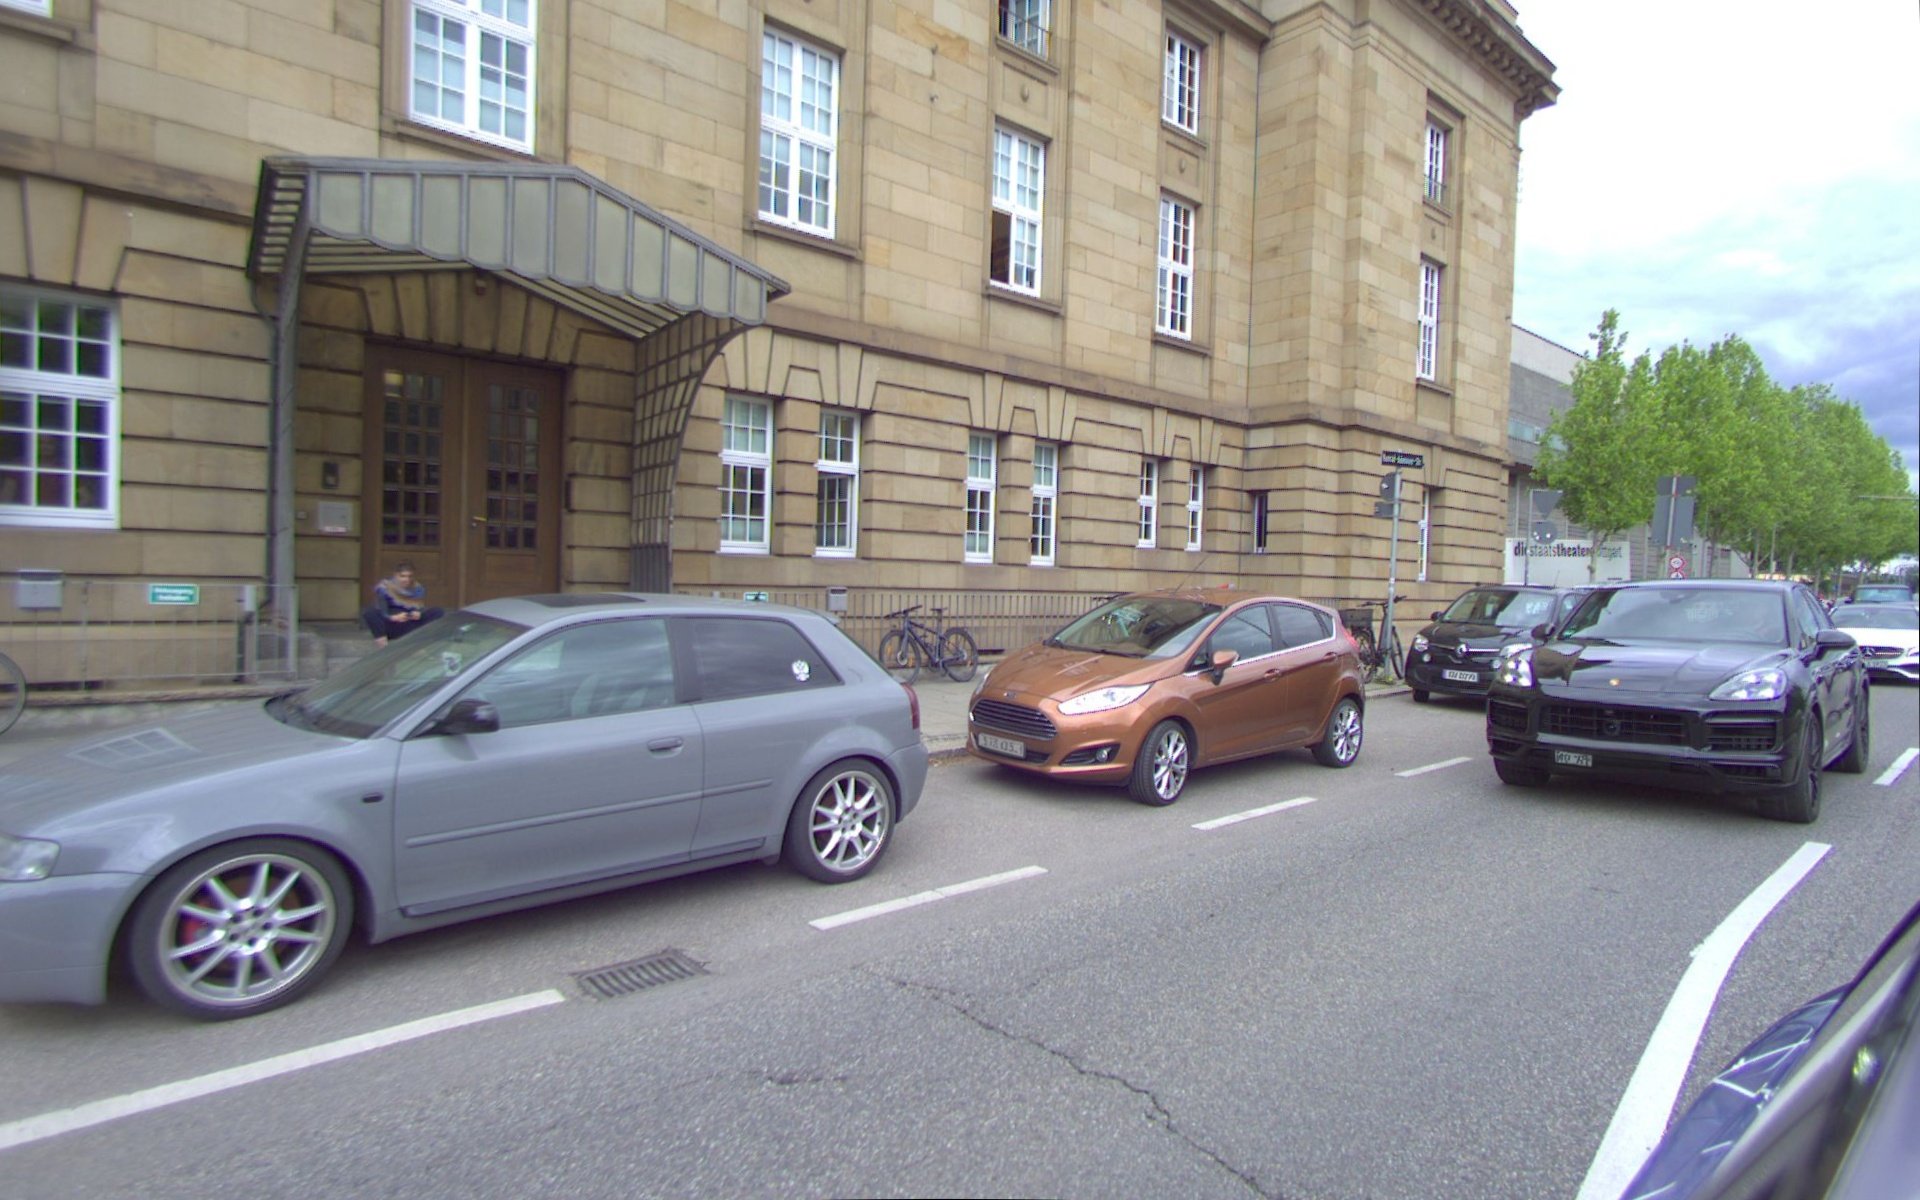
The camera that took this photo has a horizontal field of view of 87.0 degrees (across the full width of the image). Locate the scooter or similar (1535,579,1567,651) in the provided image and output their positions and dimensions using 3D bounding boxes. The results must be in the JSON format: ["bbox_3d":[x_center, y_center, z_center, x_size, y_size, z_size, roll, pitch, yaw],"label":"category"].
[{"bbox_3d":[11.050,0.261,18.950,0.448,1.268,1.356,1,3,28],"label":"scooter or similar"}]

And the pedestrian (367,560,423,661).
[{"bbox_3d":[-5.110,0.087,9.154,0.366,0.884,0.430,-1,0,-39],"label":"pedestrian"}]

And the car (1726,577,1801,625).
[{"bbox_3d":[30.825,0.038,38.777,1.805,1.760,4.414,1,0,44],"label":"car"}]

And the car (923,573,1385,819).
[{"bbox_3d":[1.695,0.565,8.109,3.791,1.473,1.619,0,3,-41],"label":"car"}]

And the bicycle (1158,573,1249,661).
[{"bbox_3d":[3.816,0.252,15.777,1.759,1.304,0.413,0,1,-41],"label":"bicycle"}]

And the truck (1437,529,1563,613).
[{"bbox_3d":[28.283,-1.488,52.915,6.447,4.135,3.143,-1,1,-34],"label":"truck"}]

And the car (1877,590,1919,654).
[{"bbox_3d":[23.978,0.519,25.175,1.608,1.491,3.565,2,2,44],"label":"car"}]

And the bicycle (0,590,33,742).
[{"bbox_3d":[-7.212,0.452,6.509,1.827,1.042,0.222,0,0,-41],"label":"bicycle"}]

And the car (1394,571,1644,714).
[{"bbox_3d":[7.293,0.456,13.096,3.642,1.571,1.550,0,2,-39],"label":"car"}]

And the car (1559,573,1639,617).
[{"bbox_3d":[27.800,-0.226,43.998,4.543,1.806,1.806,-1,-1,-43],"label":"car"}]

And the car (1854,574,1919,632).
[{"bbox_3d":[33.822,0.092,36.338,4.321,1.950,1.951,0,1,-41],"label":"car"}]

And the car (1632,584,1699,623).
[{"bbox_3d":[29.242,0.129,41.912,3.444,1.549,1.582,-1,1,-43],"label":"car"}]

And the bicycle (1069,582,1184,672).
[{"bbox_3d":[2.447,0.359,14.730,1.882,1.232,0.556,0,1,-41],"label":"bicycle"}]

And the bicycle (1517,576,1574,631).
[{"bbox_3d":[14.334,0.073,24.766,1.930,1.239,0.610,0,4,-44],"label":"bicycle"}]

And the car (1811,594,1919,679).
[{"bbox_3d":[17.123,0.599,18.623,1.930,1.393,3.936,1,1,45],"label":"car"}]

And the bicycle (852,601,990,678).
[{"bbox_3d":[-0.438,0.448,12.202,1.844,0.855,0.307,-1,0,-39],"label":"bicycle"}]

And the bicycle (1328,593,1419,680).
[{"bbox_3d":[5.992,0.494,14.606,1.800,1.171,0.460,0,1,-42],"label":"bicycle"}]

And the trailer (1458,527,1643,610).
[{"bbox_3d":[33.050,-1.677,56.234,13.703,4.153,3.159,-1,0,-34],"label":"trailer"}]

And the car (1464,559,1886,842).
[{"bbox_3d":[5.859,0.531,8.099,4.129,1.678,1.906,-1,2,-42],"label":"car"}]

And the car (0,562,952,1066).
[{"bbox_3d":[-2.081,0.594,4.749,3.928,1.443,1.712,0,3,-42],"label":"car"}]

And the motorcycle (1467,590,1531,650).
[{"bbox_3d":[11.791,0.424,22.106,1.887,1.257,0.456,0,2,-38],"label":"motorcycle"}]

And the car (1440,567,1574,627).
[{"bbox_3d":[14.774,-0.085,27.244,4.496,1.487,1.781,1,0,-42],"label":"car"}]
